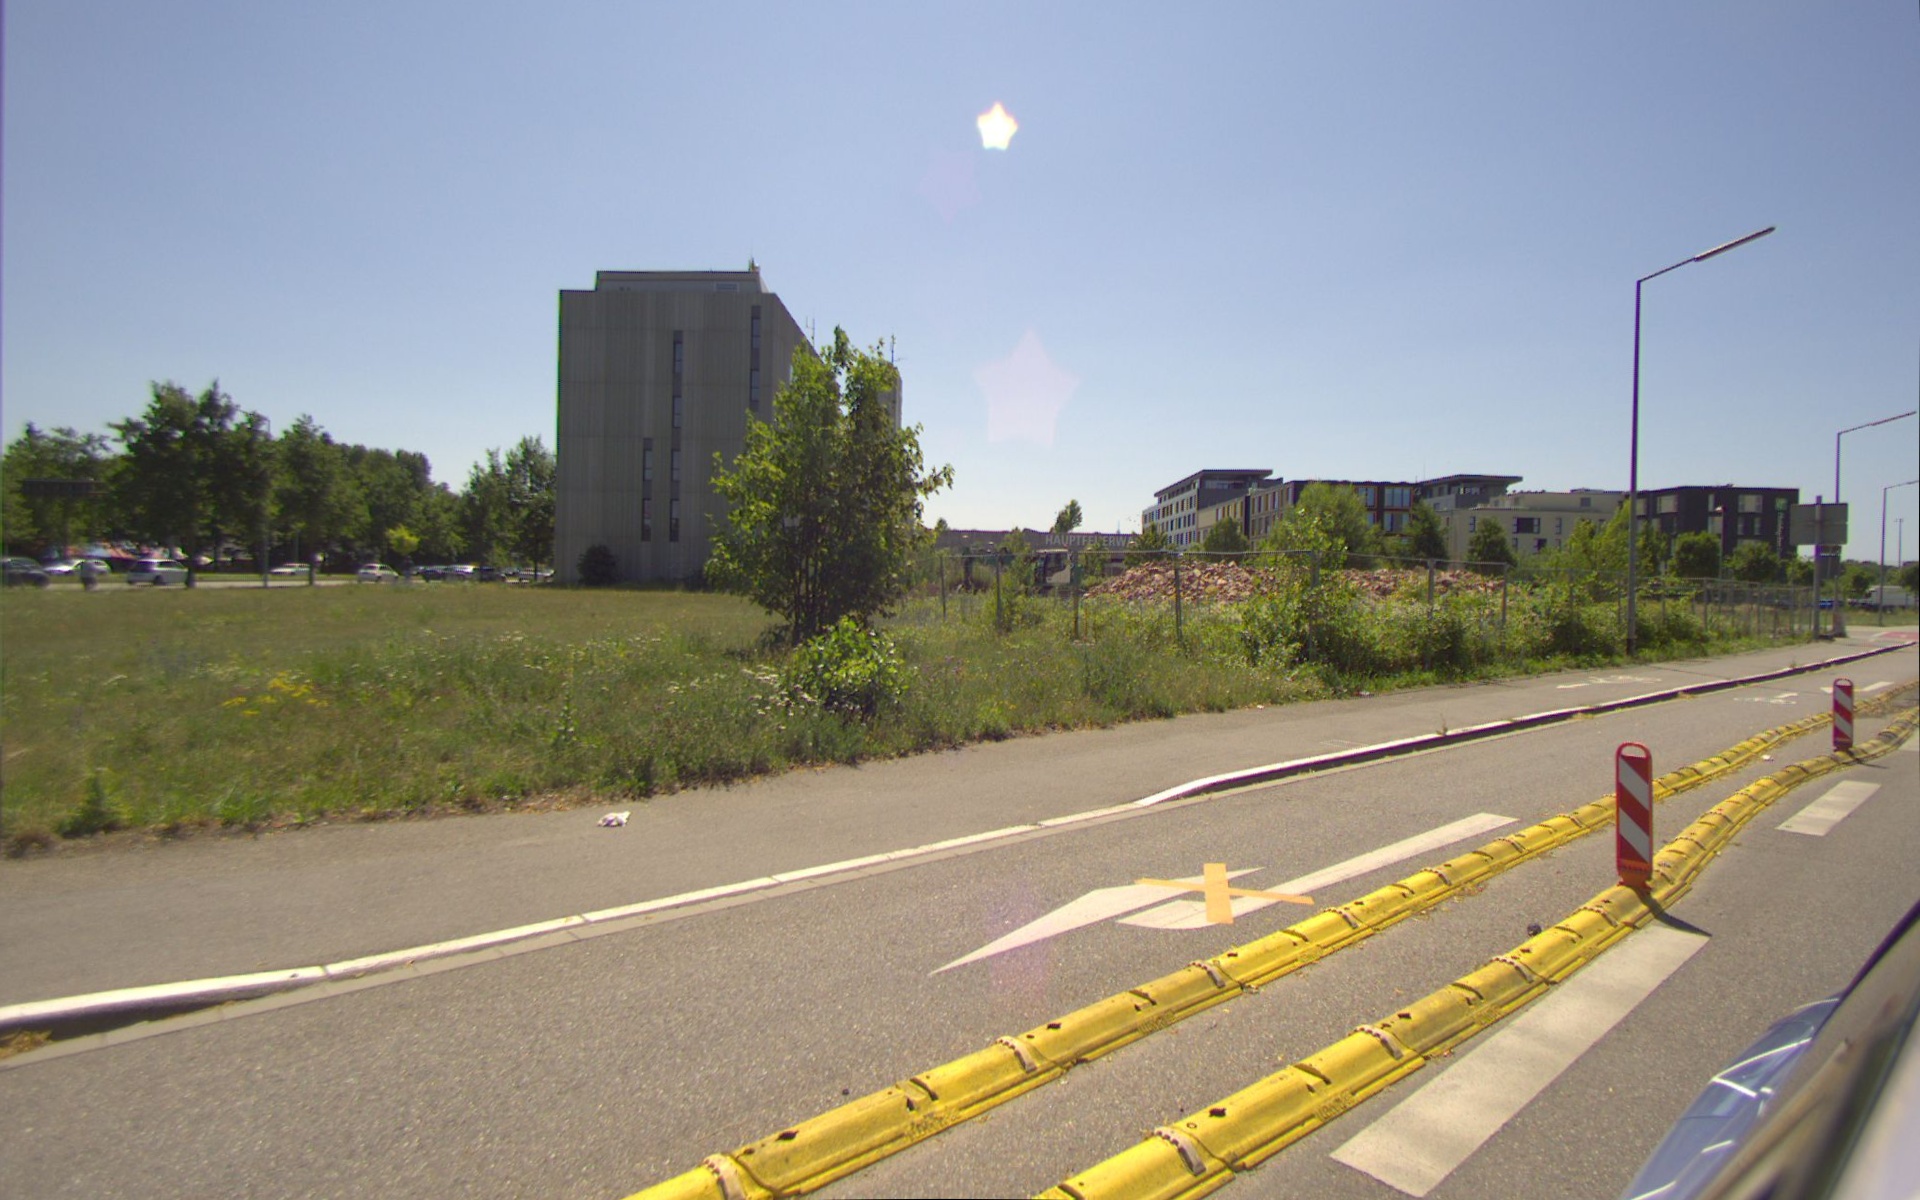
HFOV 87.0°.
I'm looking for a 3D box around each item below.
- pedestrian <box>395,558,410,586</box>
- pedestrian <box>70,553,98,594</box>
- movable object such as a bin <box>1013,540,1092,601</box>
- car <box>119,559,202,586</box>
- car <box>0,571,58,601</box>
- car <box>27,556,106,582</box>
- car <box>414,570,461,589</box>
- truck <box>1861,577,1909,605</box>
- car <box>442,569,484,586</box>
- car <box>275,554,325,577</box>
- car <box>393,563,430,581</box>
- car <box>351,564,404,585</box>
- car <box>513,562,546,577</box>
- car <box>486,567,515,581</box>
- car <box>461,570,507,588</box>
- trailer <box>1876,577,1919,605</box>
[{"bbox_3d":[-34.307,-1.741,62.305,0.489,1.712,0.737,0,0,-1],"label":"pedestrian"},{"bbox_3d":[-34.196,-1.014,39.514,0.489,1.583,0.737,0,0,-1],"label":"pedestrian"},{"bbox_3d":[4.924,-1.531,53.955,3.619,3.101,2.207,0,0,-35],"label":"movable object such as a bin"},{"bbox_3d":[-47.302,-1.610,59.953,1.708,1.571,3.999,0,1,1],"label":"car"},{"bbox_3d":[-46.013,-0.654,48.442,1.866,1.408,4.205,0,1,2],"label":"car"},{"bbox_3d":[-61.709,-2.117,70.017,1.874,1.738,3.998,0,1,2],"label":"car"},{"bbox_3d":[-45.299,-1.764,87.834,1.707,1.572,4.408,0,0,0],"label":"car"},{"bbox_3d":[115.848,-1.151,126.714,3.928,3.377,1.998,1,1,4],"label":"truck"},{"bbox_3d":[-48.055,-2.188,97.953,1.708,1.571,4.641,0,1,1],"label":"car"},{"bbox_3d":[-60.798,-3.142,93.296,1.963,2.039,3.998,0,1,2],"label":"car"},{"bbox_3d":[-61.350,-3.116,113.274,1.963,1.838,3.998,0,1,2],"label":"car"},{"bbox_3d":[-45.159,-1.967,78.547,1.708,1.571,3.999,0,1,1],"label":"car"},{"bbox_3d":[-44.764,-3.153,105.328,1.708,1.571,3.999,0,1,1],"label":"car"},{"bbox_3d":[-61.152,-3.468,134.809,1.963,1.838,3.998,0,1,2],"label":"car"},{"bbox_3d":[-42.396,-1.875,90.257,1.965,1.523,4.069,0,1,6],"label":"car"},{"bbox_3d":[119.643,-1.025,126.417,8.030,3.390,1.998,2,1,4],"label":"trailer"}]
